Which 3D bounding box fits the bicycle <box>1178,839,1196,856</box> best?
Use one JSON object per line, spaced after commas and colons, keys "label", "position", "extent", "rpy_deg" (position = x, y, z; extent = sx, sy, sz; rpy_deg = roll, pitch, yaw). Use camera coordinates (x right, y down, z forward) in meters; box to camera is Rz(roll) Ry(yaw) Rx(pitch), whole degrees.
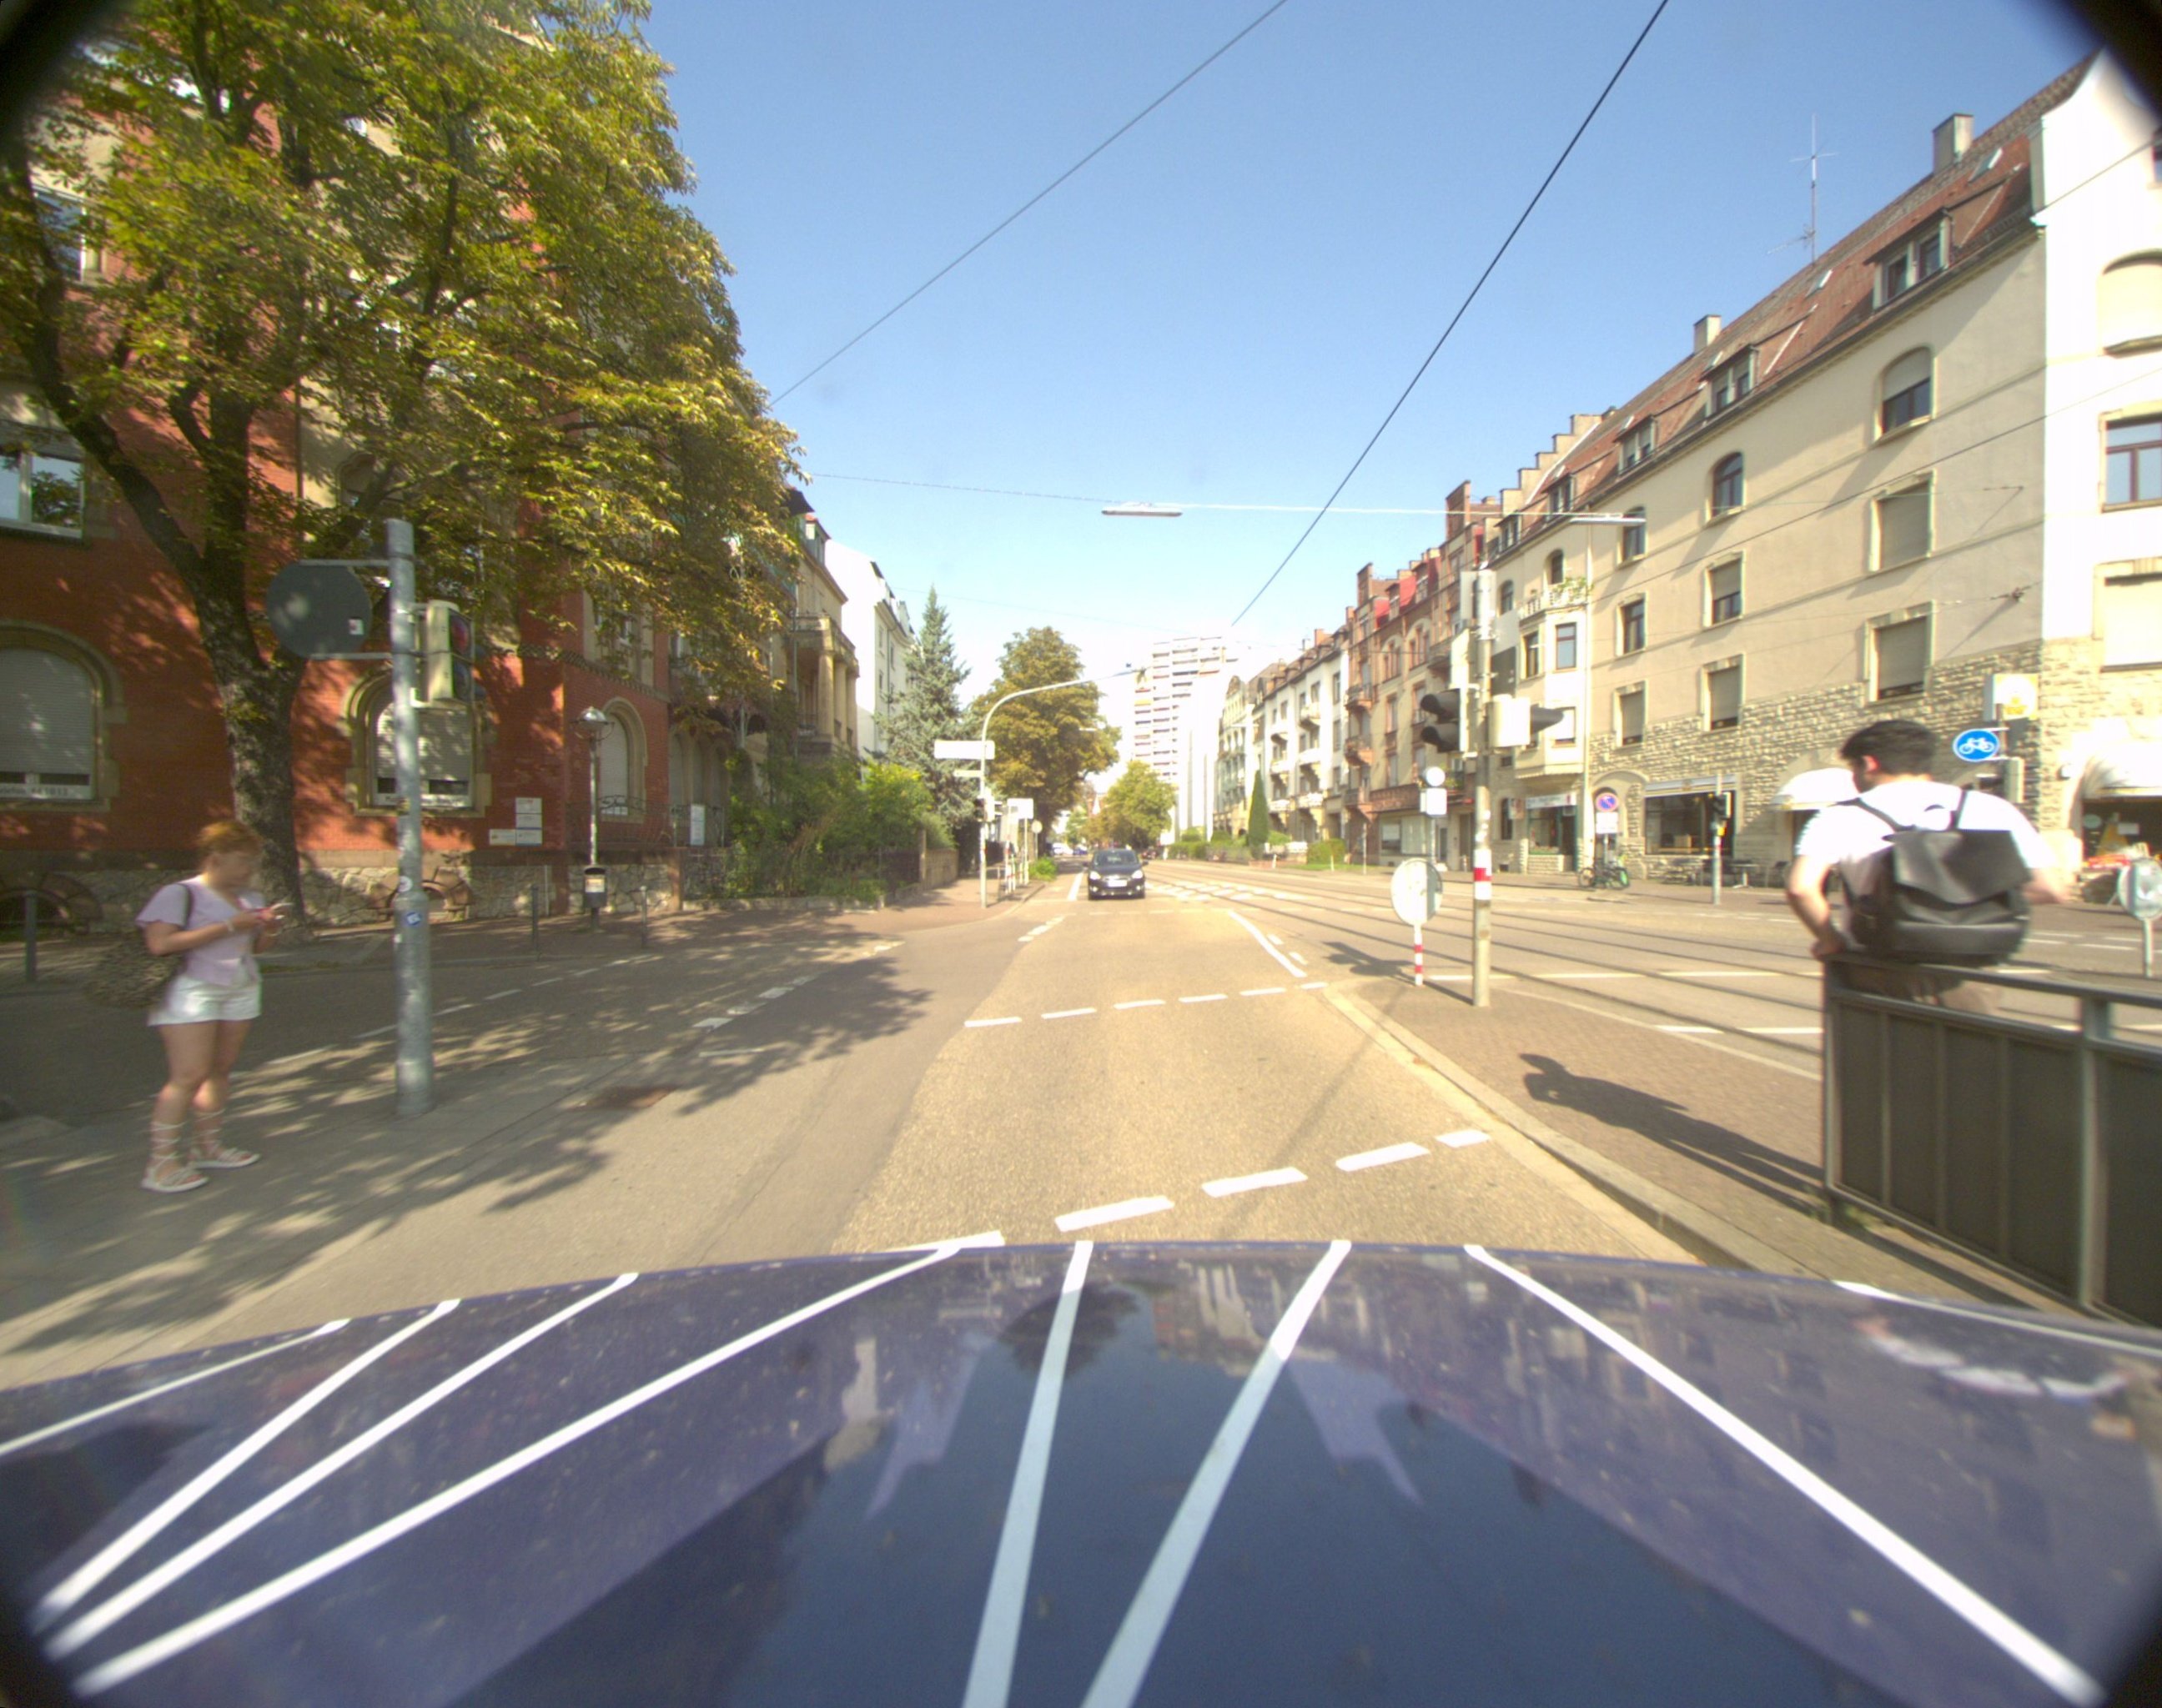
{"label": "bicycle", "position": [11.686, -0.728, 83.925], "extent": [1.016, 1.848, 3.552], "rpy_deg": [-2, 2, -9]}

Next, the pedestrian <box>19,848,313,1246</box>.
{"label": "pedestrian", "position": [-4.286, 0.830, 3.610], "extent": [0.543, 1.708, 0.661], "rpy_deg": [0, 1, 6]}

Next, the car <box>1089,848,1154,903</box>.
{"label": "car", "position": [1.176, 0.593, 23.108], "extent": [1.775, 1.460, 4.000], "rpy_deg": [-1, 1, 1]}

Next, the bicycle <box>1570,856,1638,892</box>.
{"label": "bicycle", "position": [17.050, 0.621, 24.842], "extent": [0.546, 1.097, 1.893], "rpy_deg": [-1, 1, -16]}

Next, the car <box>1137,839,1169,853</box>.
{"label": "car", "position": [10.080, -1.127, 106.418], "extent": [4.006, 2.002, 1.995], "rpy_deg": [-1, 1, -30]}

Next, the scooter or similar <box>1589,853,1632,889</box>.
{"label": "scooter or similar", "position": [17.643, 0.554, 25.339], "extent": [0.443, 1.151, 1.091], "rpy_deg": [-1, 2, -40]}

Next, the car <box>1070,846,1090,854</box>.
{"label": "car", "position": [-0.245, -0.785, 149.067], "extent": [1.994, 1.640, 4.008], "rpy_deg": [1, 1, 34]}

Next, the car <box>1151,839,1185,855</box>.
{"label": "car", "position": [11.286, -0.889, 98.278], "extent": [4.006, 2.002, 1.995], "rpy_deg": [-1, 1, -30]}

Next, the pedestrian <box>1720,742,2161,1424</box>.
{"label": "pedestrian", "position": [2.709, 0.600, 2.363], "extent": [0.730, 1.759, 0.738], "rpy_deg": [-2, -1, 0]}
